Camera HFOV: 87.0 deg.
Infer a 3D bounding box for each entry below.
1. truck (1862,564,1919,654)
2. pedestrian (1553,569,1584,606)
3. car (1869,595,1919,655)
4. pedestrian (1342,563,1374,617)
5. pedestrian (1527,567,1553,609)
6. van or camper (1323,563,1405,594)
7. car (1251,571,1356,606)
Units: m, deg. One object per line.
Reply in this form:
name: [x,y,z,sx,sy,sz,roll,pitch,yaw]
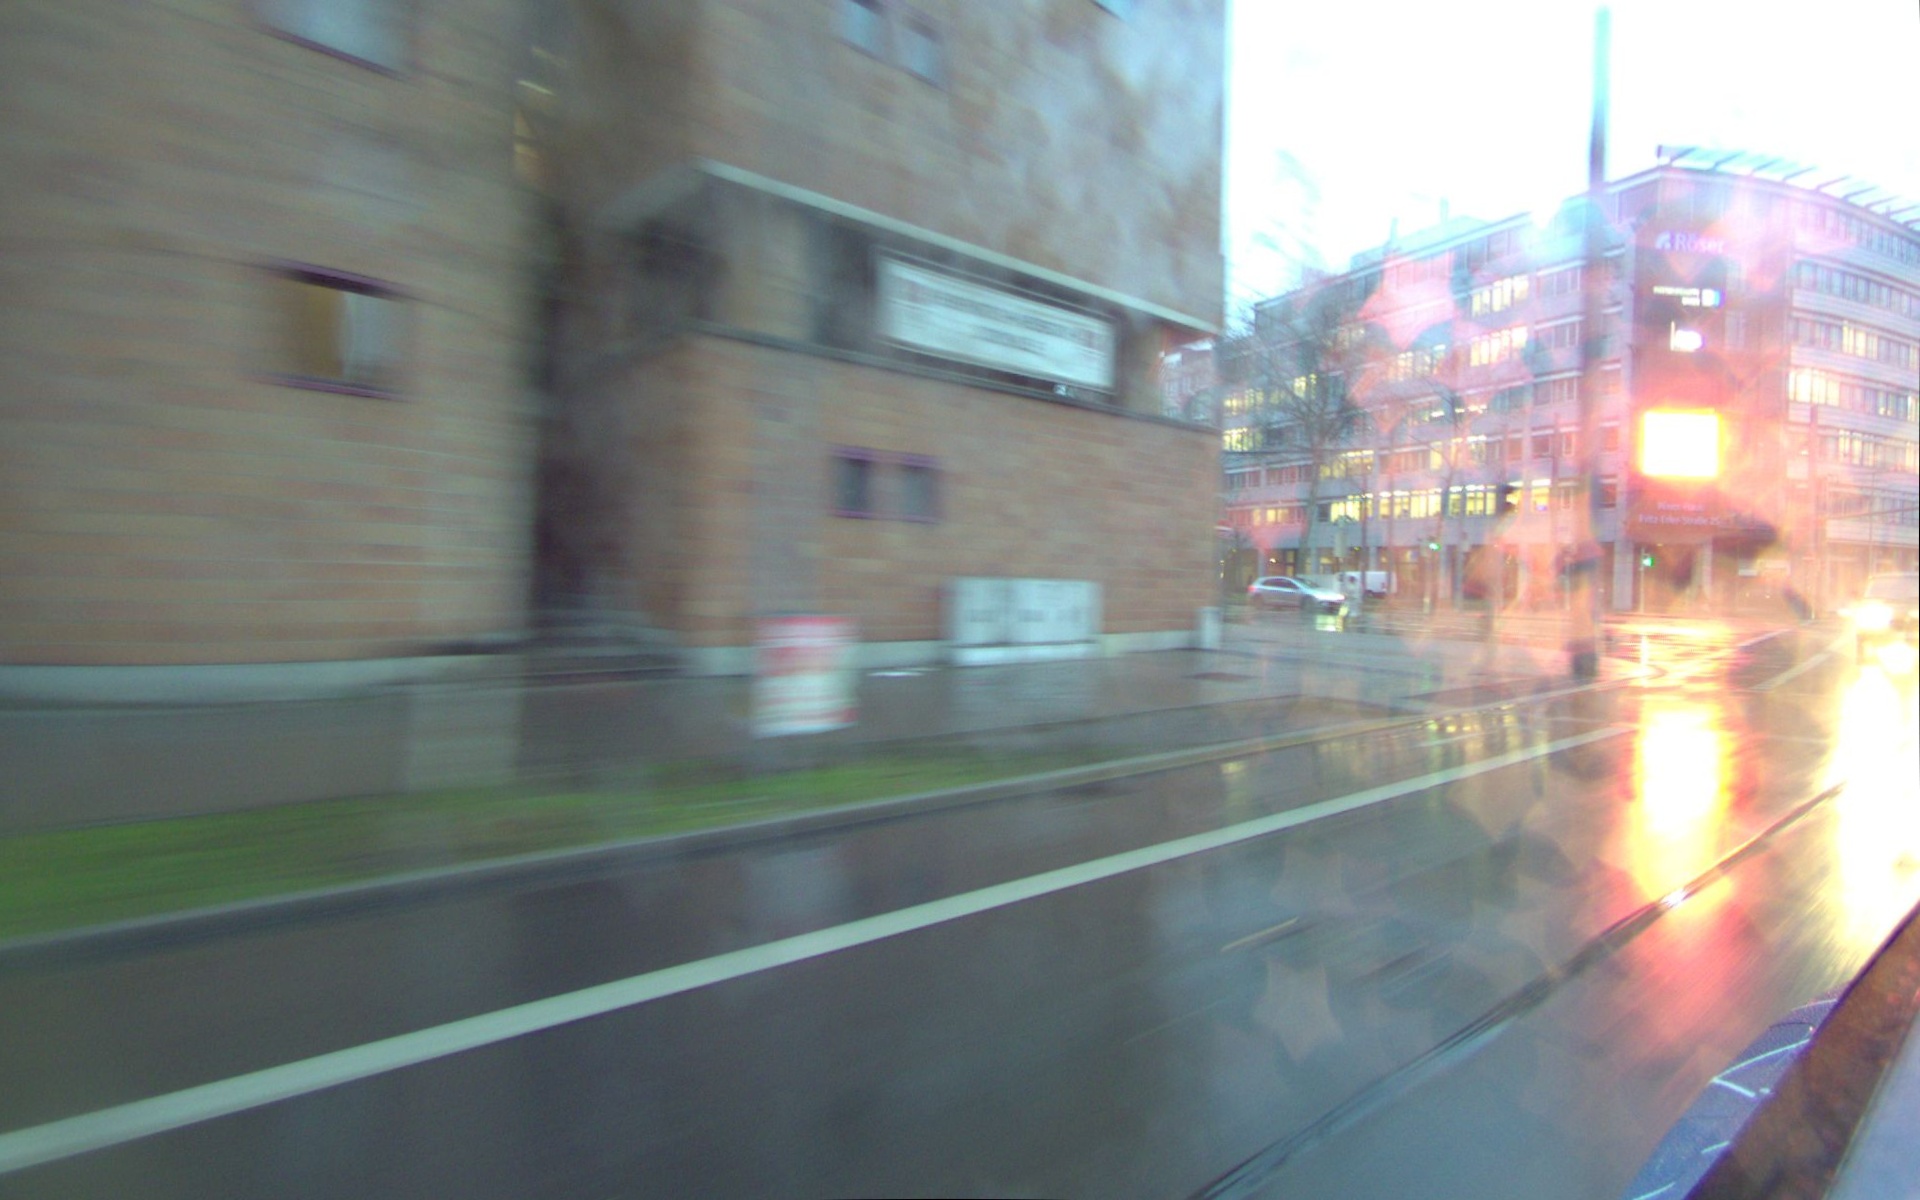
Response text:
truck: [22.553,0.195,23.399,4.534,1.941,1.908,0,0,-40]
pedestrian: [30.472,-0.619,50.683,1.148,1.809,0.766,2,2,42]
car: [31.413,0.786,32.511,4.594,1.842,1.913,0,0,-29]
pedestrian: [13.486,-0.347,34.277,0.722,1.809,0.735,0,2,-42]
pedestrian: [25.532,-0.541,44.557,0.790,1.833,0.647,2,1,18]
van or camper: [26.556,-1.444,66.595,1.807,1.953,4.746,0,2,-37]
car: [14.713,-0.520,43.525,1.780,1.357,3.995,0,2,-36]
